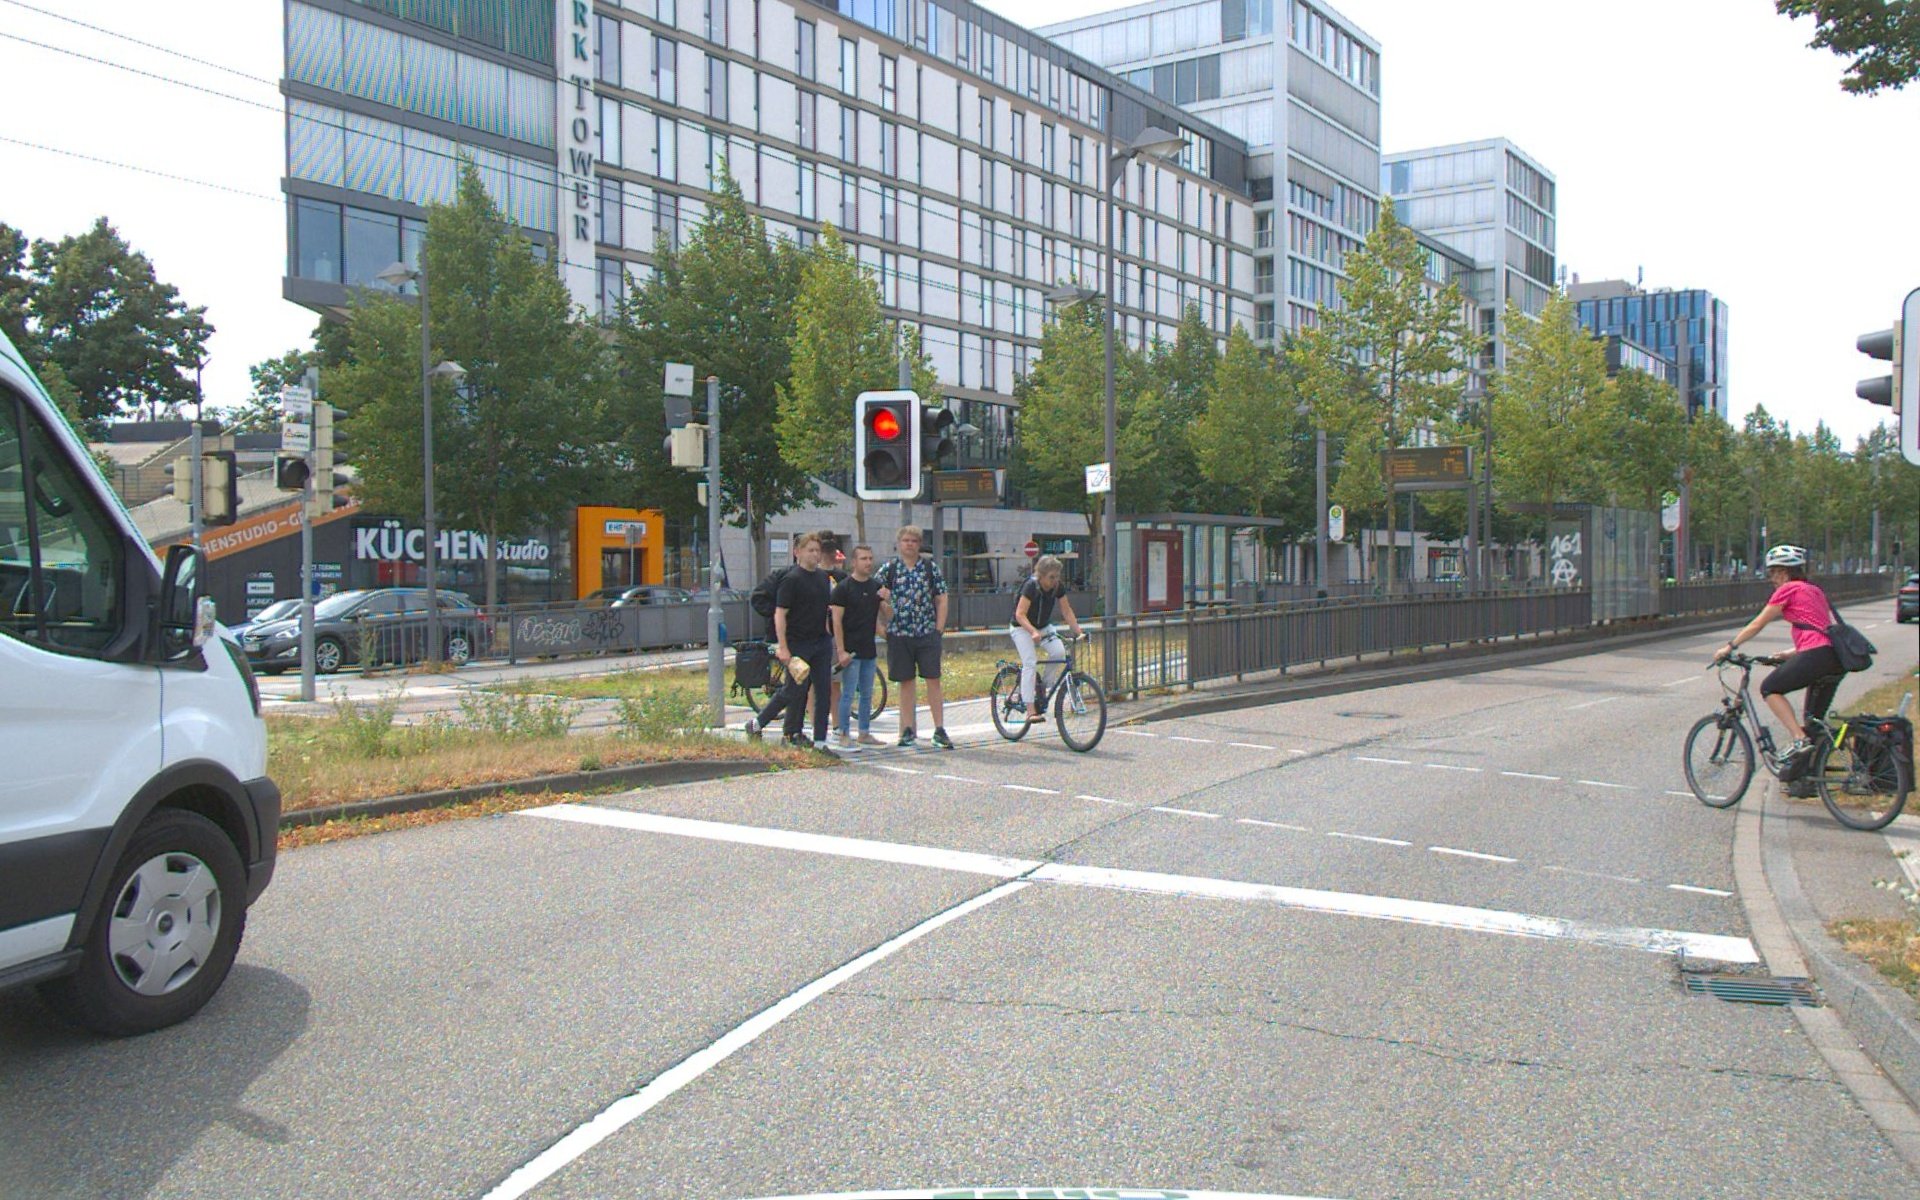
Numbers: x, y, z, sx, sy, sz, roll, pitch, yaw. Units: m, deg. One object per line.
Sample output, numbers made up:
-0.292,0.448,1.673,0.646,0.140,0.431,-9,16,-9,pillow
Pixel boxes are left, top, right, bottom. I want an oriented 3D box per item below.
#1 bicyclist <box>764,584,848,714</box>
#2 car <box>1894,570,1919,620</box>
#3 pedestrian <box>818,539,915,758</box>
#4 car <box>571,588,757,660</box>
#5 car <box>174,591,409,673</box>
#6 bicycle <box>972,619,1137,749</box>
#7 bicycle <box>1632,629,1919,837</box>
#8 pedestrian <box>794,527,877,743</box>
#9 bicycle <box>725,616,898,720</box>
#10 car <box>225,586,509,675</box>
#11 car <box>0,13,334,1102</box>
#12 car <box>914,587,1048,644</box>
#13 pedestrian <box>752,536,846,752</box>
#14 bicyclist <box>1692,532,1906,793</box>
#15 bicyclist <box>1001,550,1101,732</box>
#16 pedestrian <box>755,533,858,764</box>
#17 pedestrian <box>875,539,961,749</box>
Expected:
-1.626,0.506,17.506,0.659,1.340,0.640,1,0,24,bicyclist
32.228,-0.189,54.698,2.021,1.578,4.462,1,1,33,car
-0.796,0.397,14.138,0.541,1.812,0.689,1,0,29,pedestrian
-6.593,0.493,37.192,1.812,1.483,3.984,1,1,36,car
-13.134,0.587,32.704,1.812,1.483,3.985,1,1,36,car
0.830,0.731,15.038,0.543,1.077,1.690,0,1,-37,bicycle
5.612,0.830,11.134,0.779,1.188,2.024,-1,1,-26,bicycle
-1.124,0.303,14.932,0.541,1.894,0.530,1,0,29,pedestrian
-1.575,0.697,17.503,1.715,1.024,0.654,1,1,23,bicycle
-10.707,0.489,30.193,1.812,1.483,4.720,1,1,36,car
-3.551,-0.094,3.223,2.081,2.744,5.635,0,1,5,car
0.639,0.399,46.542,1.812,1.483,3.984,1,1,36,car
-1.389,0.366,14.315,0.541,1.812,0.632,1,0,29,pedestrian
5.624,0.385,11.120,0.779,1.655,1.040,-1,1,-27,bicyclist
0.821,0.355,15.062,0.554,1.608,0.755,0,0,-37,bicyclist
-1.240,0.373,13.421,0.541,1.812,0.689,1,0,29,pedestrian
-0.373,0.378,14.678,0.541,1.812,0.579,1,0,29,pedestrian
